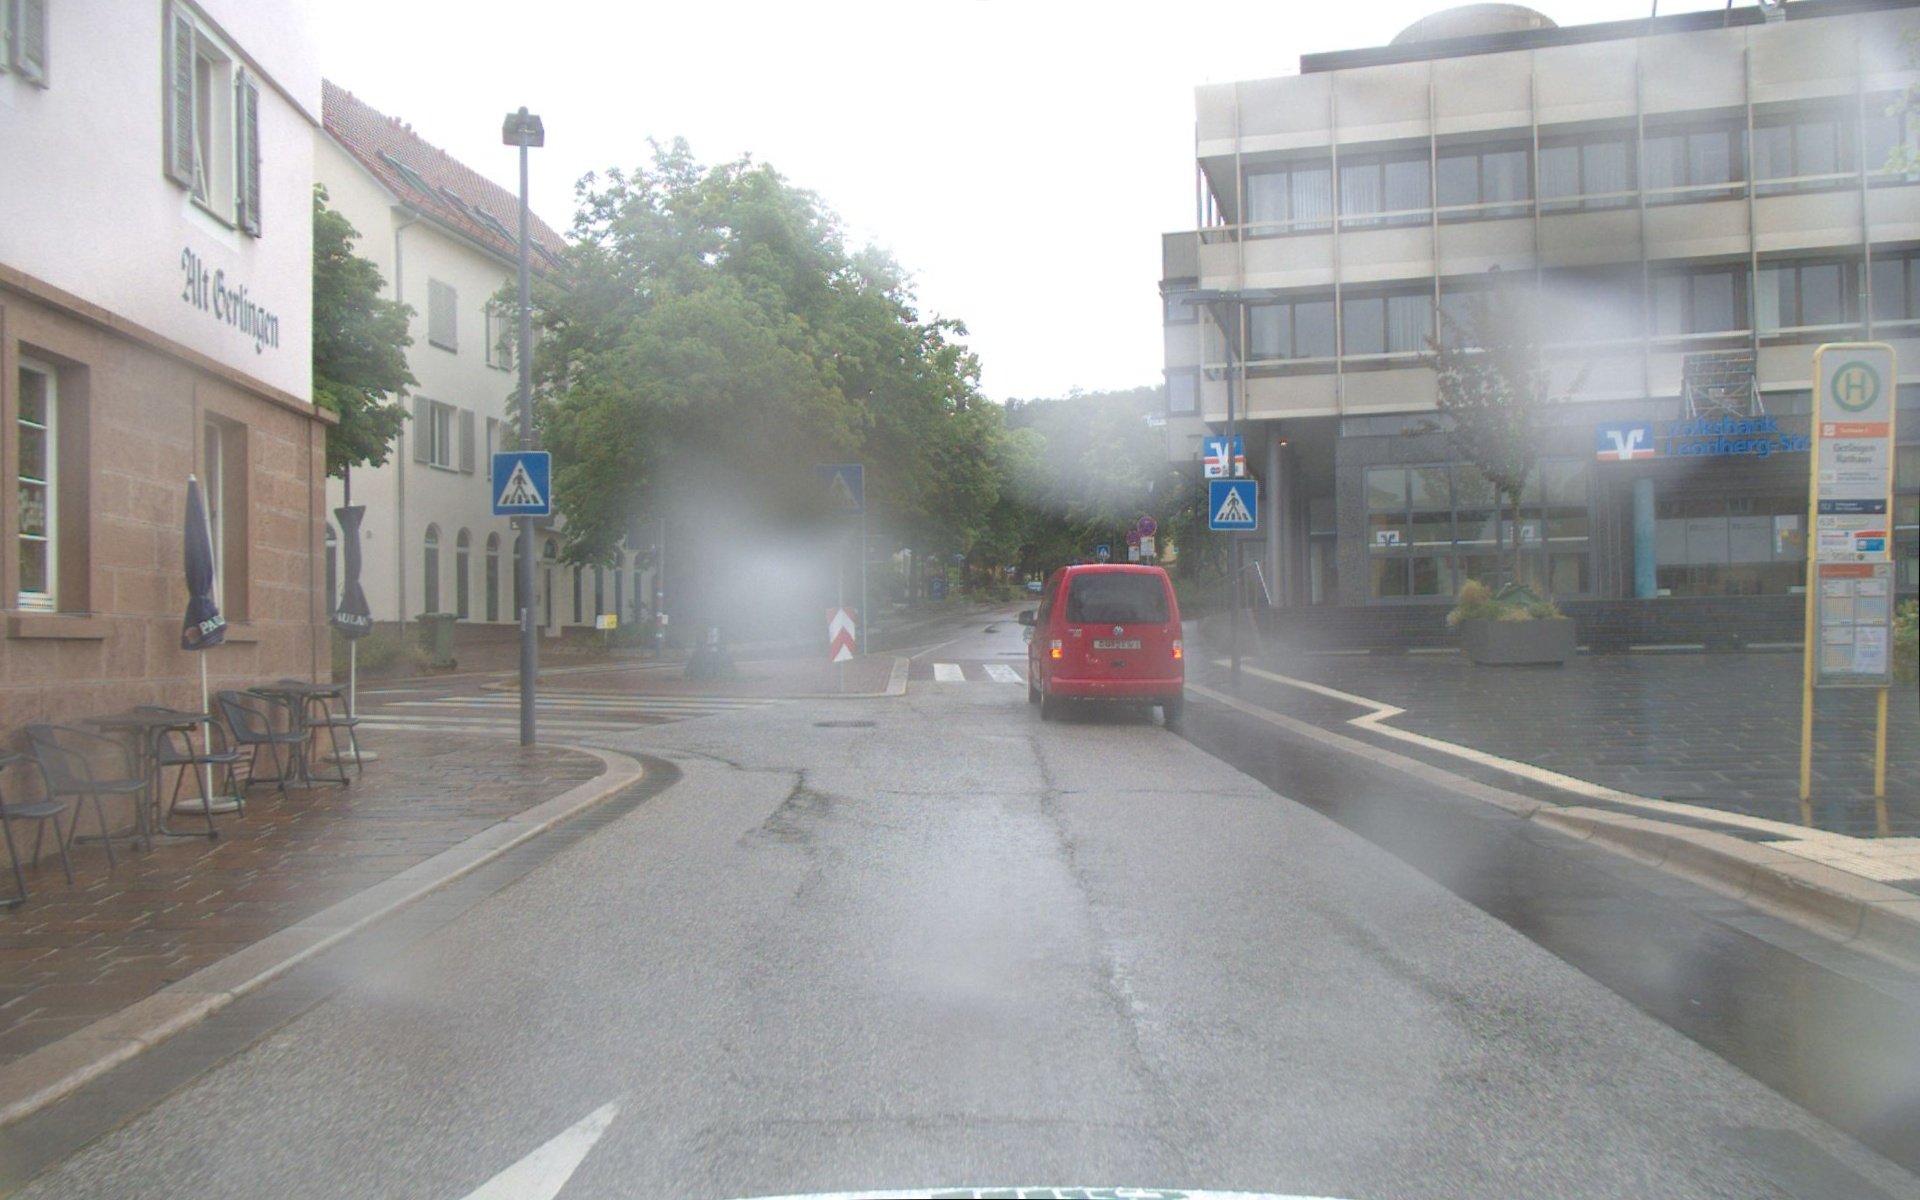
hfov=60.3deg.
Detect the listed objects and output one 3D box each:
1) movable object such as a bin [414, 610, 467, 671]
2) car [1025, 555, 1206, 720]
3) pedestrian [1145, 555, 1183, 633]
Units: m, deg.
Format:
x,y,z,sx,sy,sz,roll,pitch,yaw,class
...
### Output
x,y,z,sx,sy,sz,roll,pitch,yaw,class
-10.077,0.783,32.109,0.721,1.144,0.650,-2,-1,14,movable object such as a bin
1.871,0.439,21.079,1.824,1.862,4.184,-1,0,-1,car
4.973,-0.152,40.287,0.817,1.862,0.816,1,0,13,pedestrian
